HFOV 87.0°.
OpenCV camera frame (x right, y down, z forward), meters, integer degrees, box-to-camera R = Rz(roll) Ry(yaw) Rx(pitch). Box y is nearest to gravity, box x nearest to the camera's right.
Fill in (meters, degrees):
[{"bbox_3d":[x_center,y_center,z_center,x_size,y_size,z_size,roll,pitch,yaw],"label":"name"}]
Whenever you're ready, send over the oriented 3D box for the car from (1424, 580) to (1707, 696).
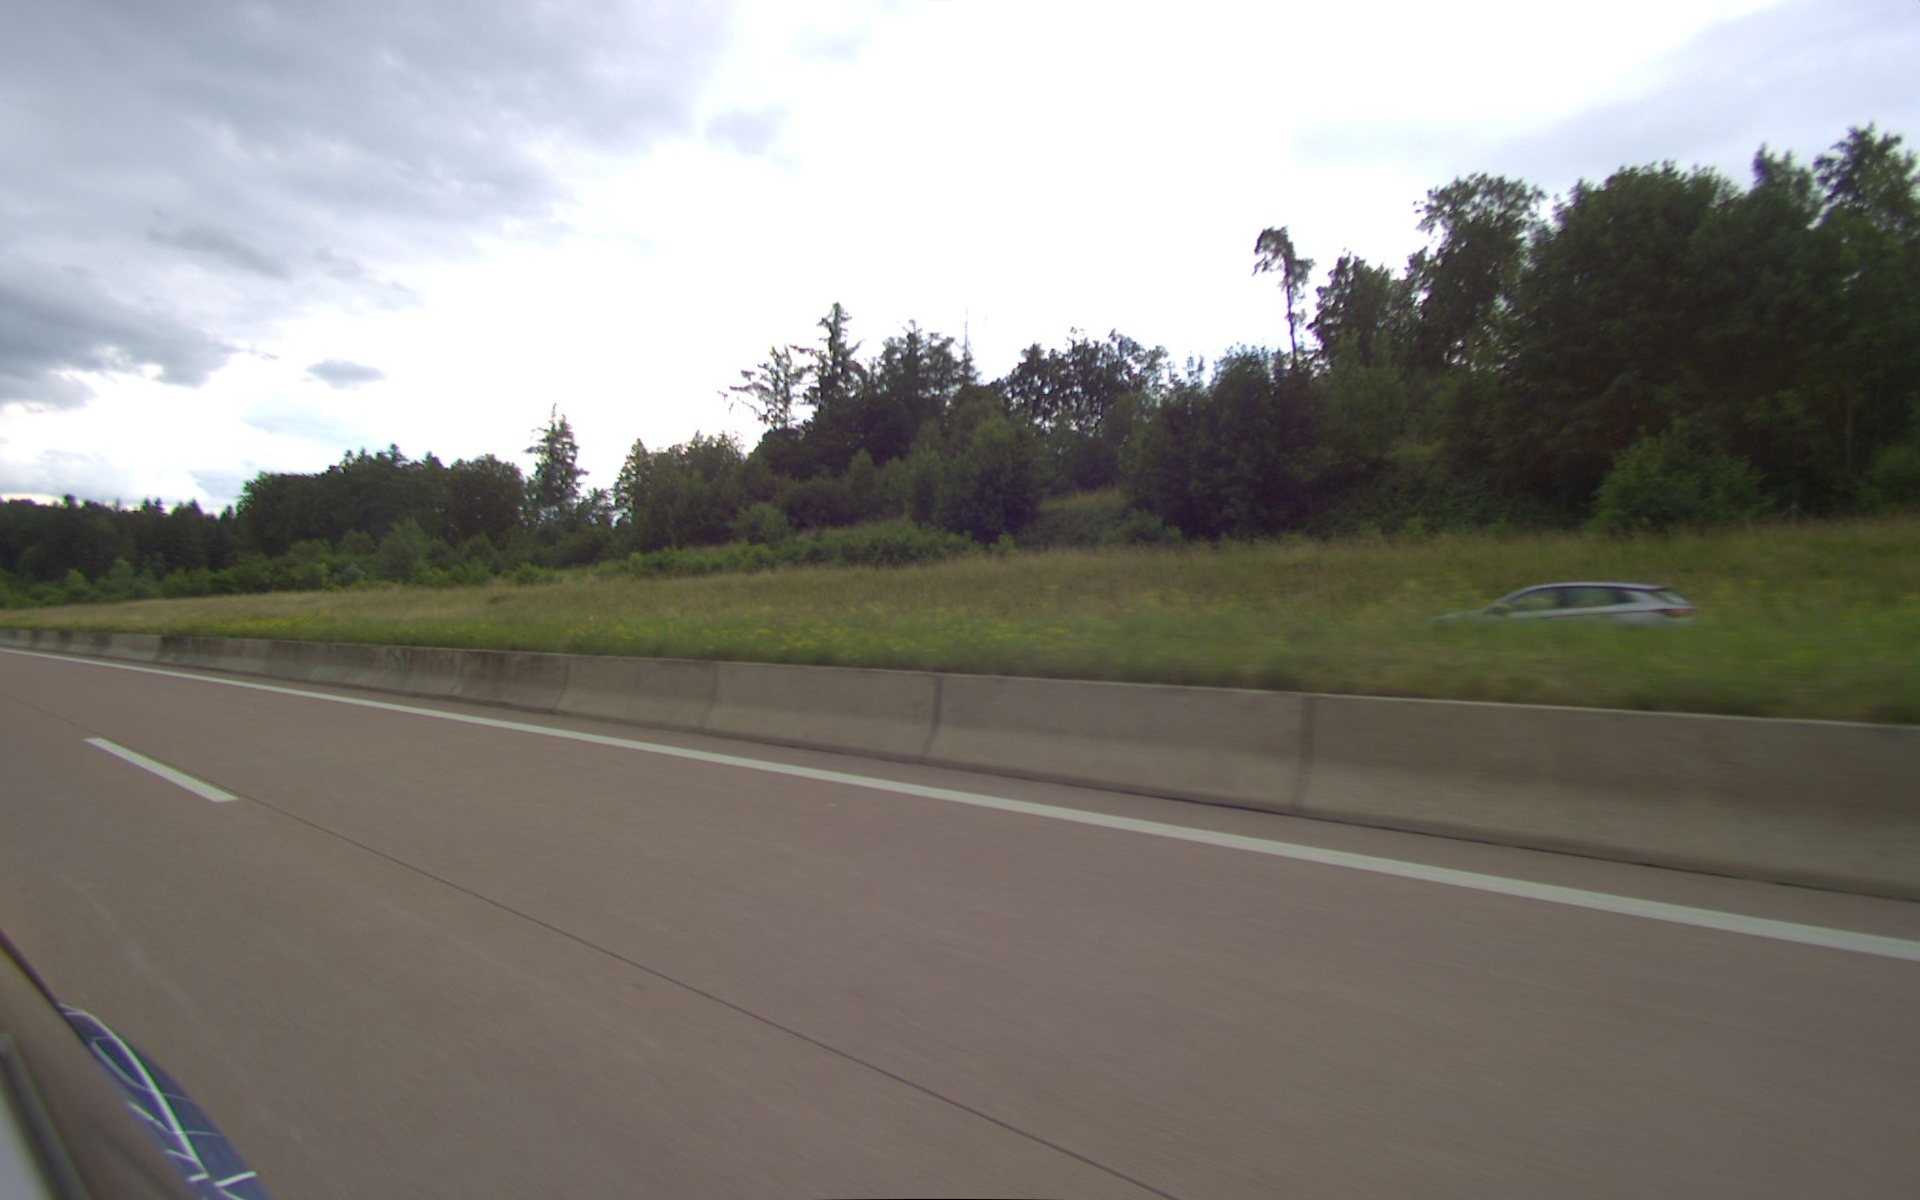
[{"bbox_3d":[10.826,0.569,18.261,4.120,1.859,1.813,1,1,42],"label":"car"}]
